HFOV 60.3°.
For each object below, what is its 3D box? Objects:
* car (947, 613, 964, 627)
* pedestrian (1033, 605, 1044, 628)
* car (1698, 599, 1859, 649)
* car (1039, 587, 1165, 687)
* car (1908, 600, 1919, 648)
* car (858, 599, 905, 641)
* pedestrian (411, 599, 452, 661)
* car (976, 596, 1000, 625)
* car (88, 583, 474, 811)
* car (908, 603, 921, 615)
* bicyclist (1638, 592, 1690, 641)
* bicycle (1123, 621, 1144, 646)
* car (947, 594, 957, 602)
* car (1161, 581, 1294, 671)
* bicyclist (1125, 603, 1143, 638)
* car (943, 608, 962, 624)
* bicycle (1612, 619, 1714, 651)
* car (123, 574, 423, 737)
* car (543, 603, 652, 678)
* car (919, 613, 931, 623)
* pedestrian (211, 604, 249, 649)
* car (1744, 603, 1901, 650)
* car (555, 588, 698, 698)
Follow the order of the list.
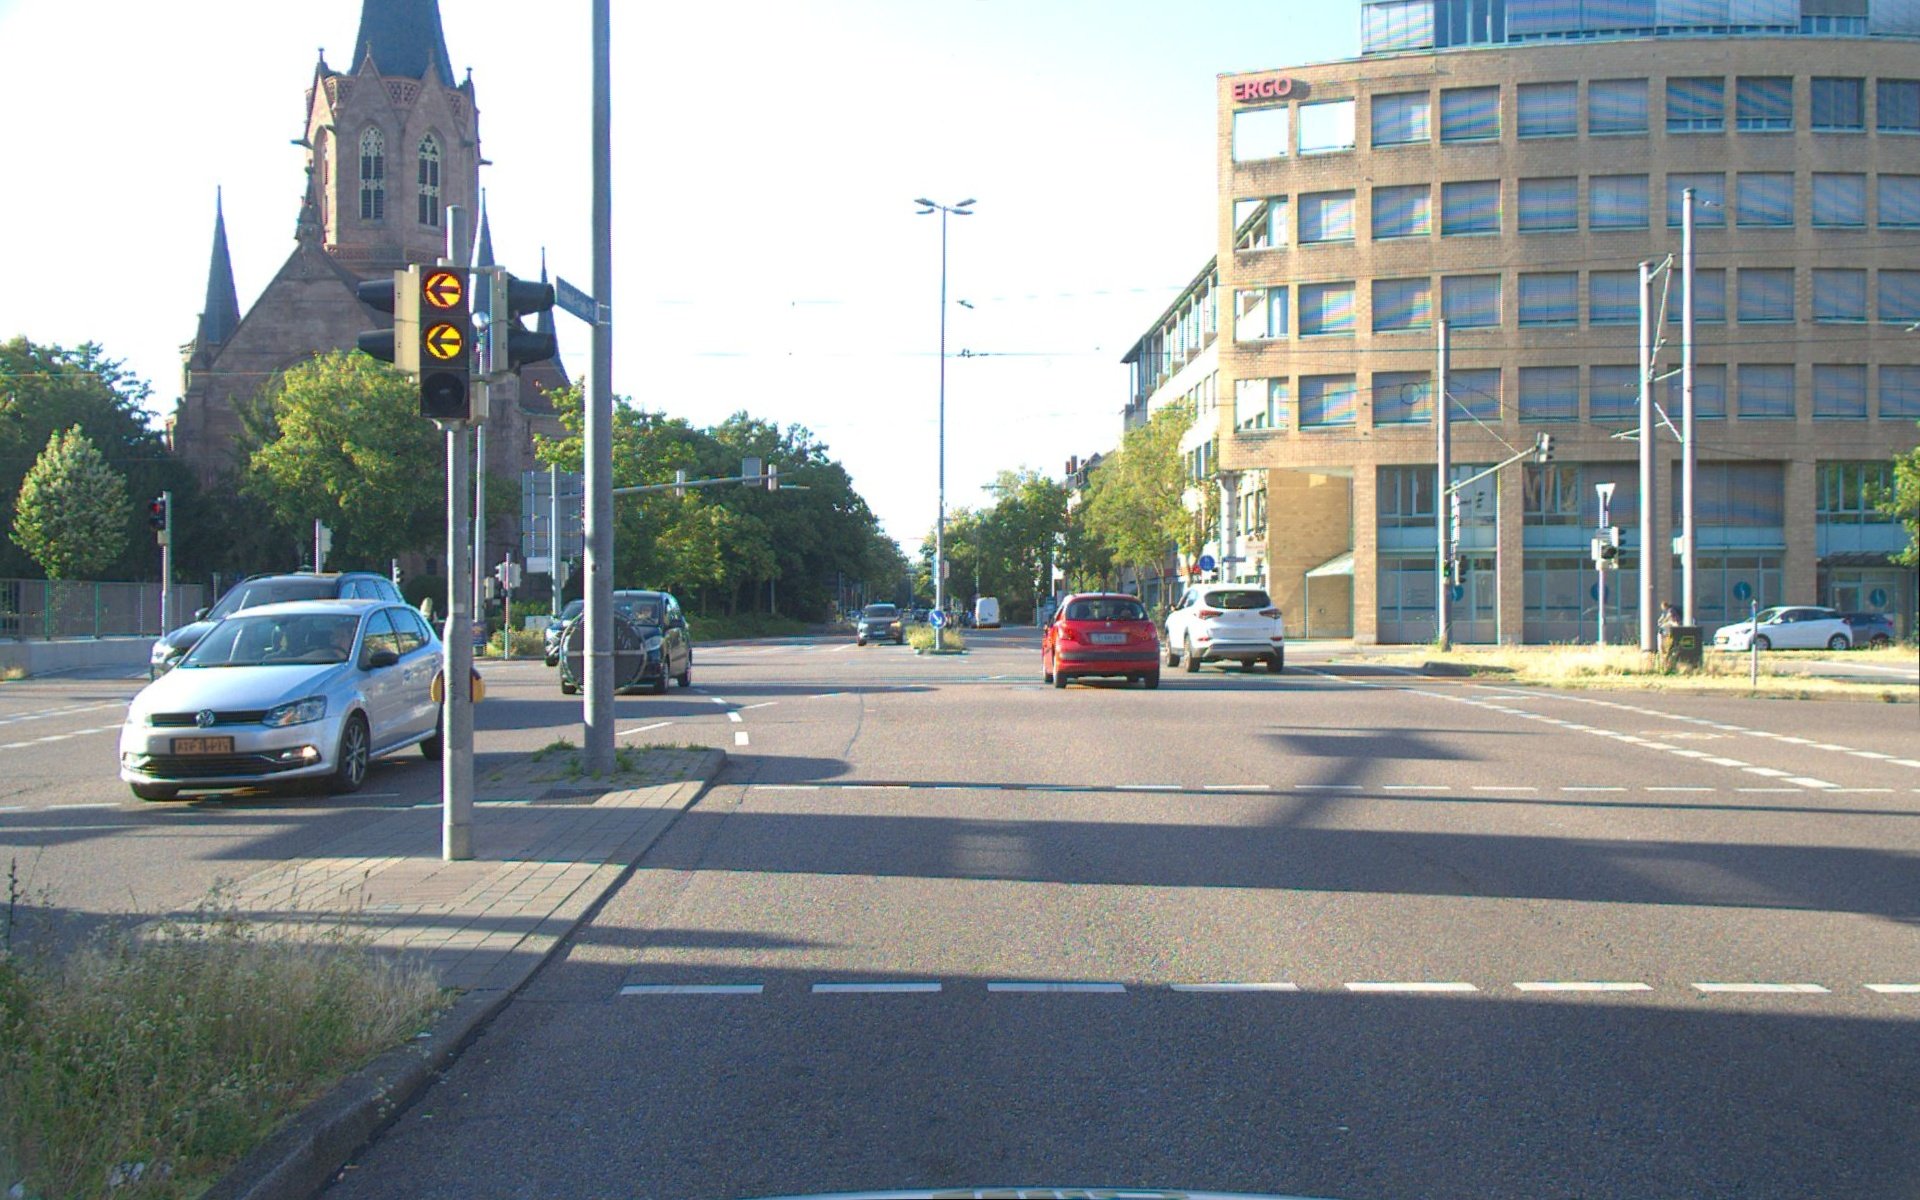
[{"bbox_3d":[-0.402,1.858,153.592,1.562,1.289,3.266,0,0,-1],"label":"car"},{"bbox_3d":[6.176,1.318,130.593,0.830,1.835,0.775,0,0,-1],"label":"pedestrian"},{"bbox_3d":[25.664,0.759,51.937,4.080,1.518,1.994,0,-1,-3],"label":"car"},{"bbox_3d":[2.255,0.575,27.104,1.636,1.488,3.999,1,0,-1],"label":"car"},{"bbox_3d":[32.424,0.736,52.193,3.970,1.518,1.819,0,-1,-2],"label":"car"},{"bbox_3d":[-3.421,0.899,72.638,1.953,1.754,5.029,-1,-1,-2],"label":"car"},{"bbox_3d":[-15.248,0.861,47.714,0.945,1.770,0.812,0,-1,-2],"label":"pedestrian"},{"bbox_3d":[2.457,0.889,144.470,1.953,2.483,3.999,1,0,-1],"label":"car"},{"bbox_3d":[-5.395,0.675,13.693,1.641,1.571,3.805,-2,0,-1],"label":"car"},{"bbox_3d":[-6.882,1.379,251.109,1.848,1.700,3.999,1,0,-1],"label":"car"},{"bbox_3d":[23.208,0.539,54.558,1.198,1.599,1.153,0,-1,-3],"label":"bicyclist"},{"bbox_3d":[6.904,1.332,65.739,0.580,0.959,1.977,1,-1,-1],"label":"bicycle"},{"bbox_3d":[-1.283,-0.307,254.782,1.562,1.289,3.266,0,0,-1],"label":"car"},{"bbox_3d":[5.210,0.485,32.733,1.877,1.635,4.268,1,0,-1],"label":"car"},{"bbox_3d":[6.917,0.821,65.741,0.580,1.393,0.929,1,-1,-1],"label":"bicyclist"},{"bbox_3d":[-0.669,1.353,139.400,1.562,1.289,3.266,0,0,-1],"label":"car"},{"bbox_3d":[23.166,1.149,54.548,2.901,1.018,1.153,0,0,-3],"label":"bicycle"},{"bbox_3d":[-8.364,0.595,20.668,1.779,1.740,4.785,-2,0,-1],"label":"car"},{"bbox_3d":[-8.525,0.910,39.195,1.758,1.593,4.146,-1,1,-2],"label":"car"},{"bbox_3d":[-4.542,2.332,216.899,1.562,1.289,3.266,0,0,-1],"label":"car"},{"bbox_3d":[-28.124,1.015,63.742,0.992,1.726,0.845,1,-1,11],"label":"pedestrian"},{"bbox_3d":[29.757,0.898,57.127,4.390,1.564,1.986,0,-1,-1],"label":"car"},{"bbox_3d":[-5.171,0.617,26.014,1.546,1.571,3.476,-2,0,-1],"label":"car"}]
